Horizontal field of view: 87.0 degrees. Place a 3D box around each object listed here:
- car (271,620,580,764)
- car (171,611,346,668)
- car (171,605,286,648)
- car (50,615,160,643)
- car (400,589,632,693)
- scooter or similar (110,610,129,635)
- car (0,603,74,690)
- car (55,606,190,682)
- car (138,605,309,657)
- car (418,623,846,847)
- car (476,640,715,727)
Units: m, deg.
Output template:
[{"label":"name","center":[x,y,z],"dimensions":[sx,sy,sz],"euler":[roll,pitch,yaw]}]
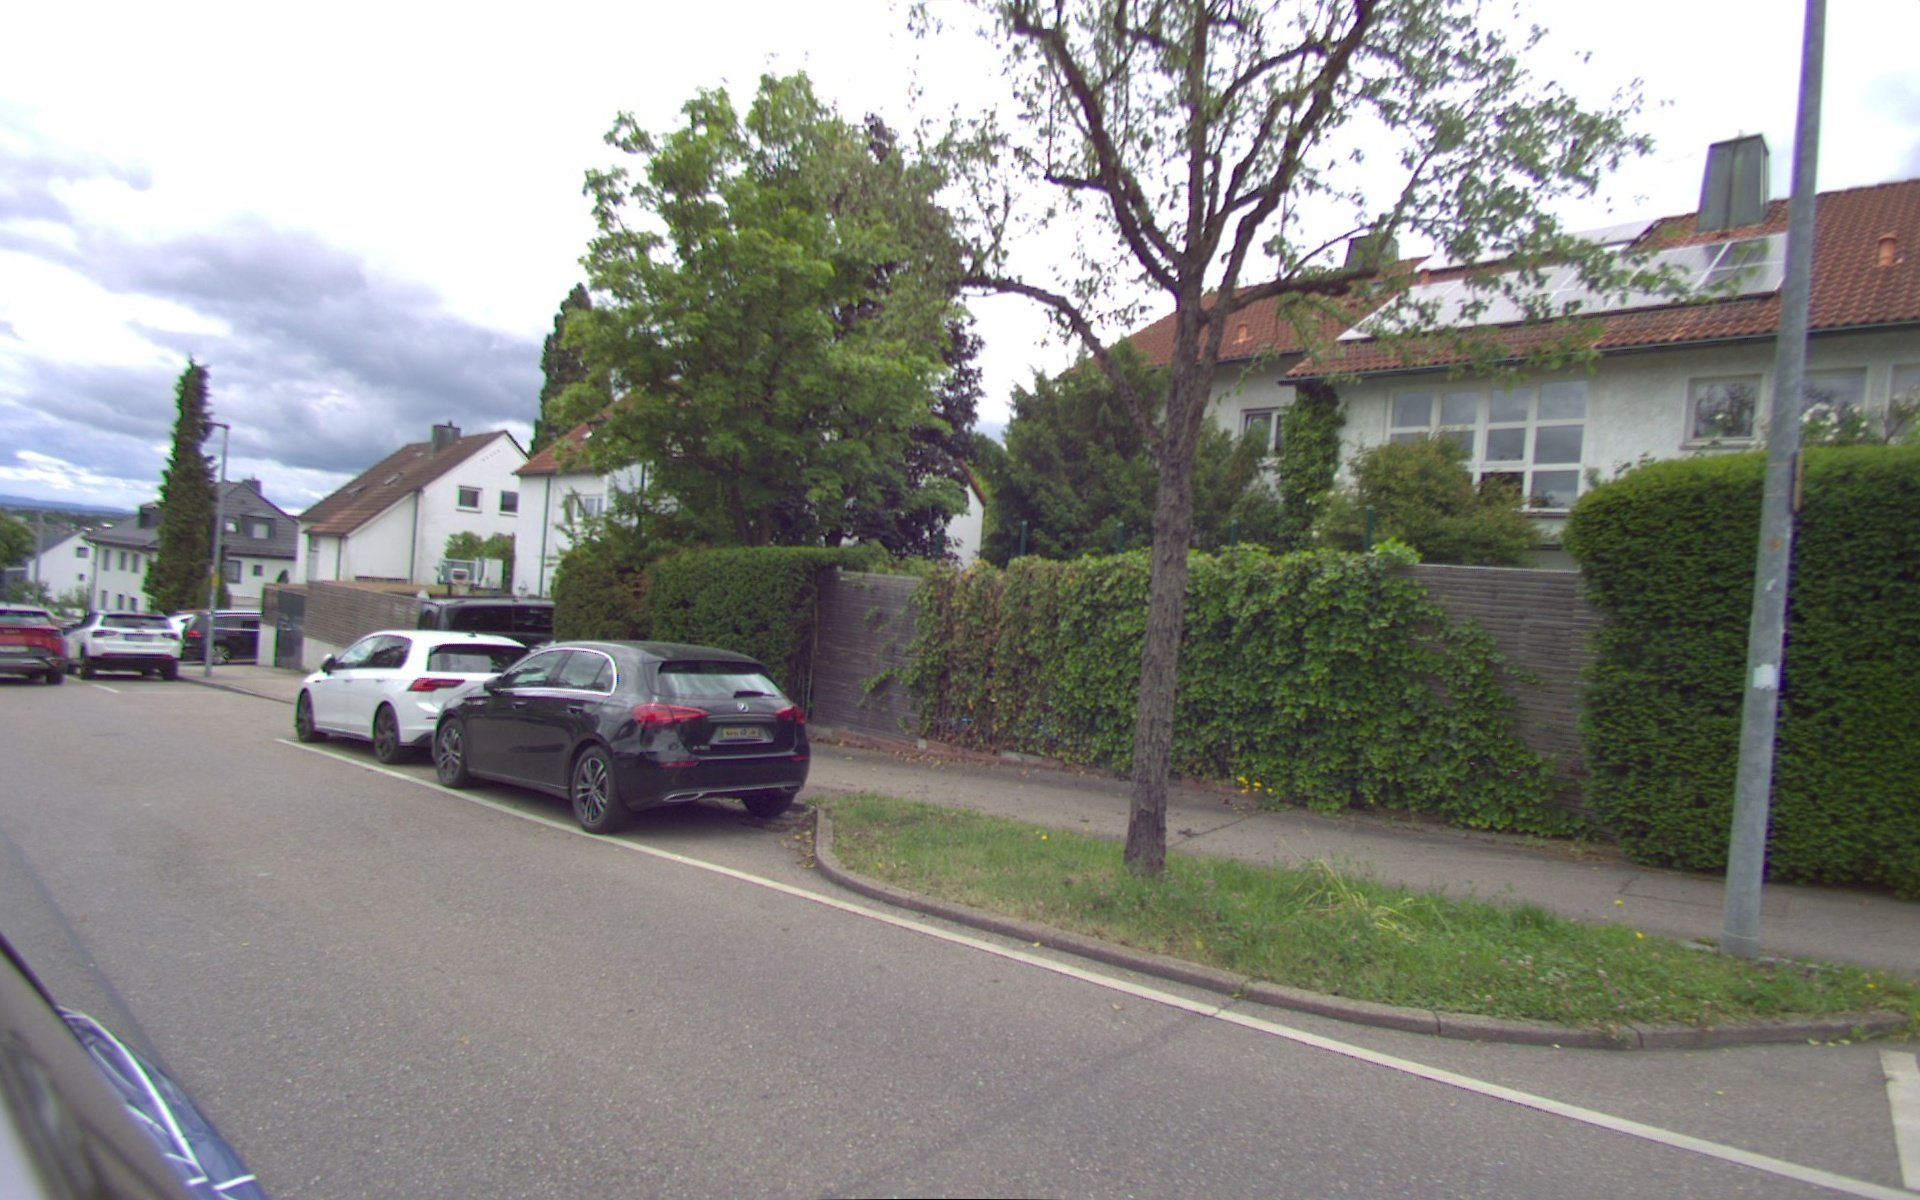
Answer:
[{"label":"car","center":[-6.699,1.033,12.481],"dimensions":[4.406,1.433,1.818],"euler":[0,-4,41]},{"label":"car","center":[-22.228,1.292,32.199],"dimensions":[1.855,1.624,4.247],"euler":[-1,-4,45]},{"label":"car","center":[-28.763,0.998,39.857],"dimensions":[1.657,1.590,3.392],"euler":[1,0,42]},{"label":"car","center":[-46.814,1.616,55.505],"dimensions":[1.900,1.378,4.248],"euler":[0,-3,36]},{"label":"car","center":[-9.340,0.874,21.428],"dimensions":[4.022,1.964,2.003],"euler":[4,-2,-41]},{"label":"scooter or similar","center":[-38.330,1.016,46.135],"dimensions":[0.468,1.157,1.458],"euler":[1,-1,-33]},{"label":"car","center":[-20.132,0.899,21.074],"dimensions":[4.256,1.660,1.920],"euler":[0,-5,42]},{"label":"car","center":[-20.443,1.040,24.643],"dimensions":[4.407,1.679,1.817],"euler":[0,-5,42]},{"label":"car","center":[-24.785,0.990,34.177],"dimensions":[1.909,1.641,4.366],"euler":[0,0,40]},{"label":"car","center":[-3.029,1.004,8.891],"dimensions":[4.078,1.434,1.709],"euler":[0,-4,42]},{"label":"car","center":[-6.904,1.533,19.321],"dimensions":[3.934,1.456,1.783],"euler":[3,-2,-36]}]
